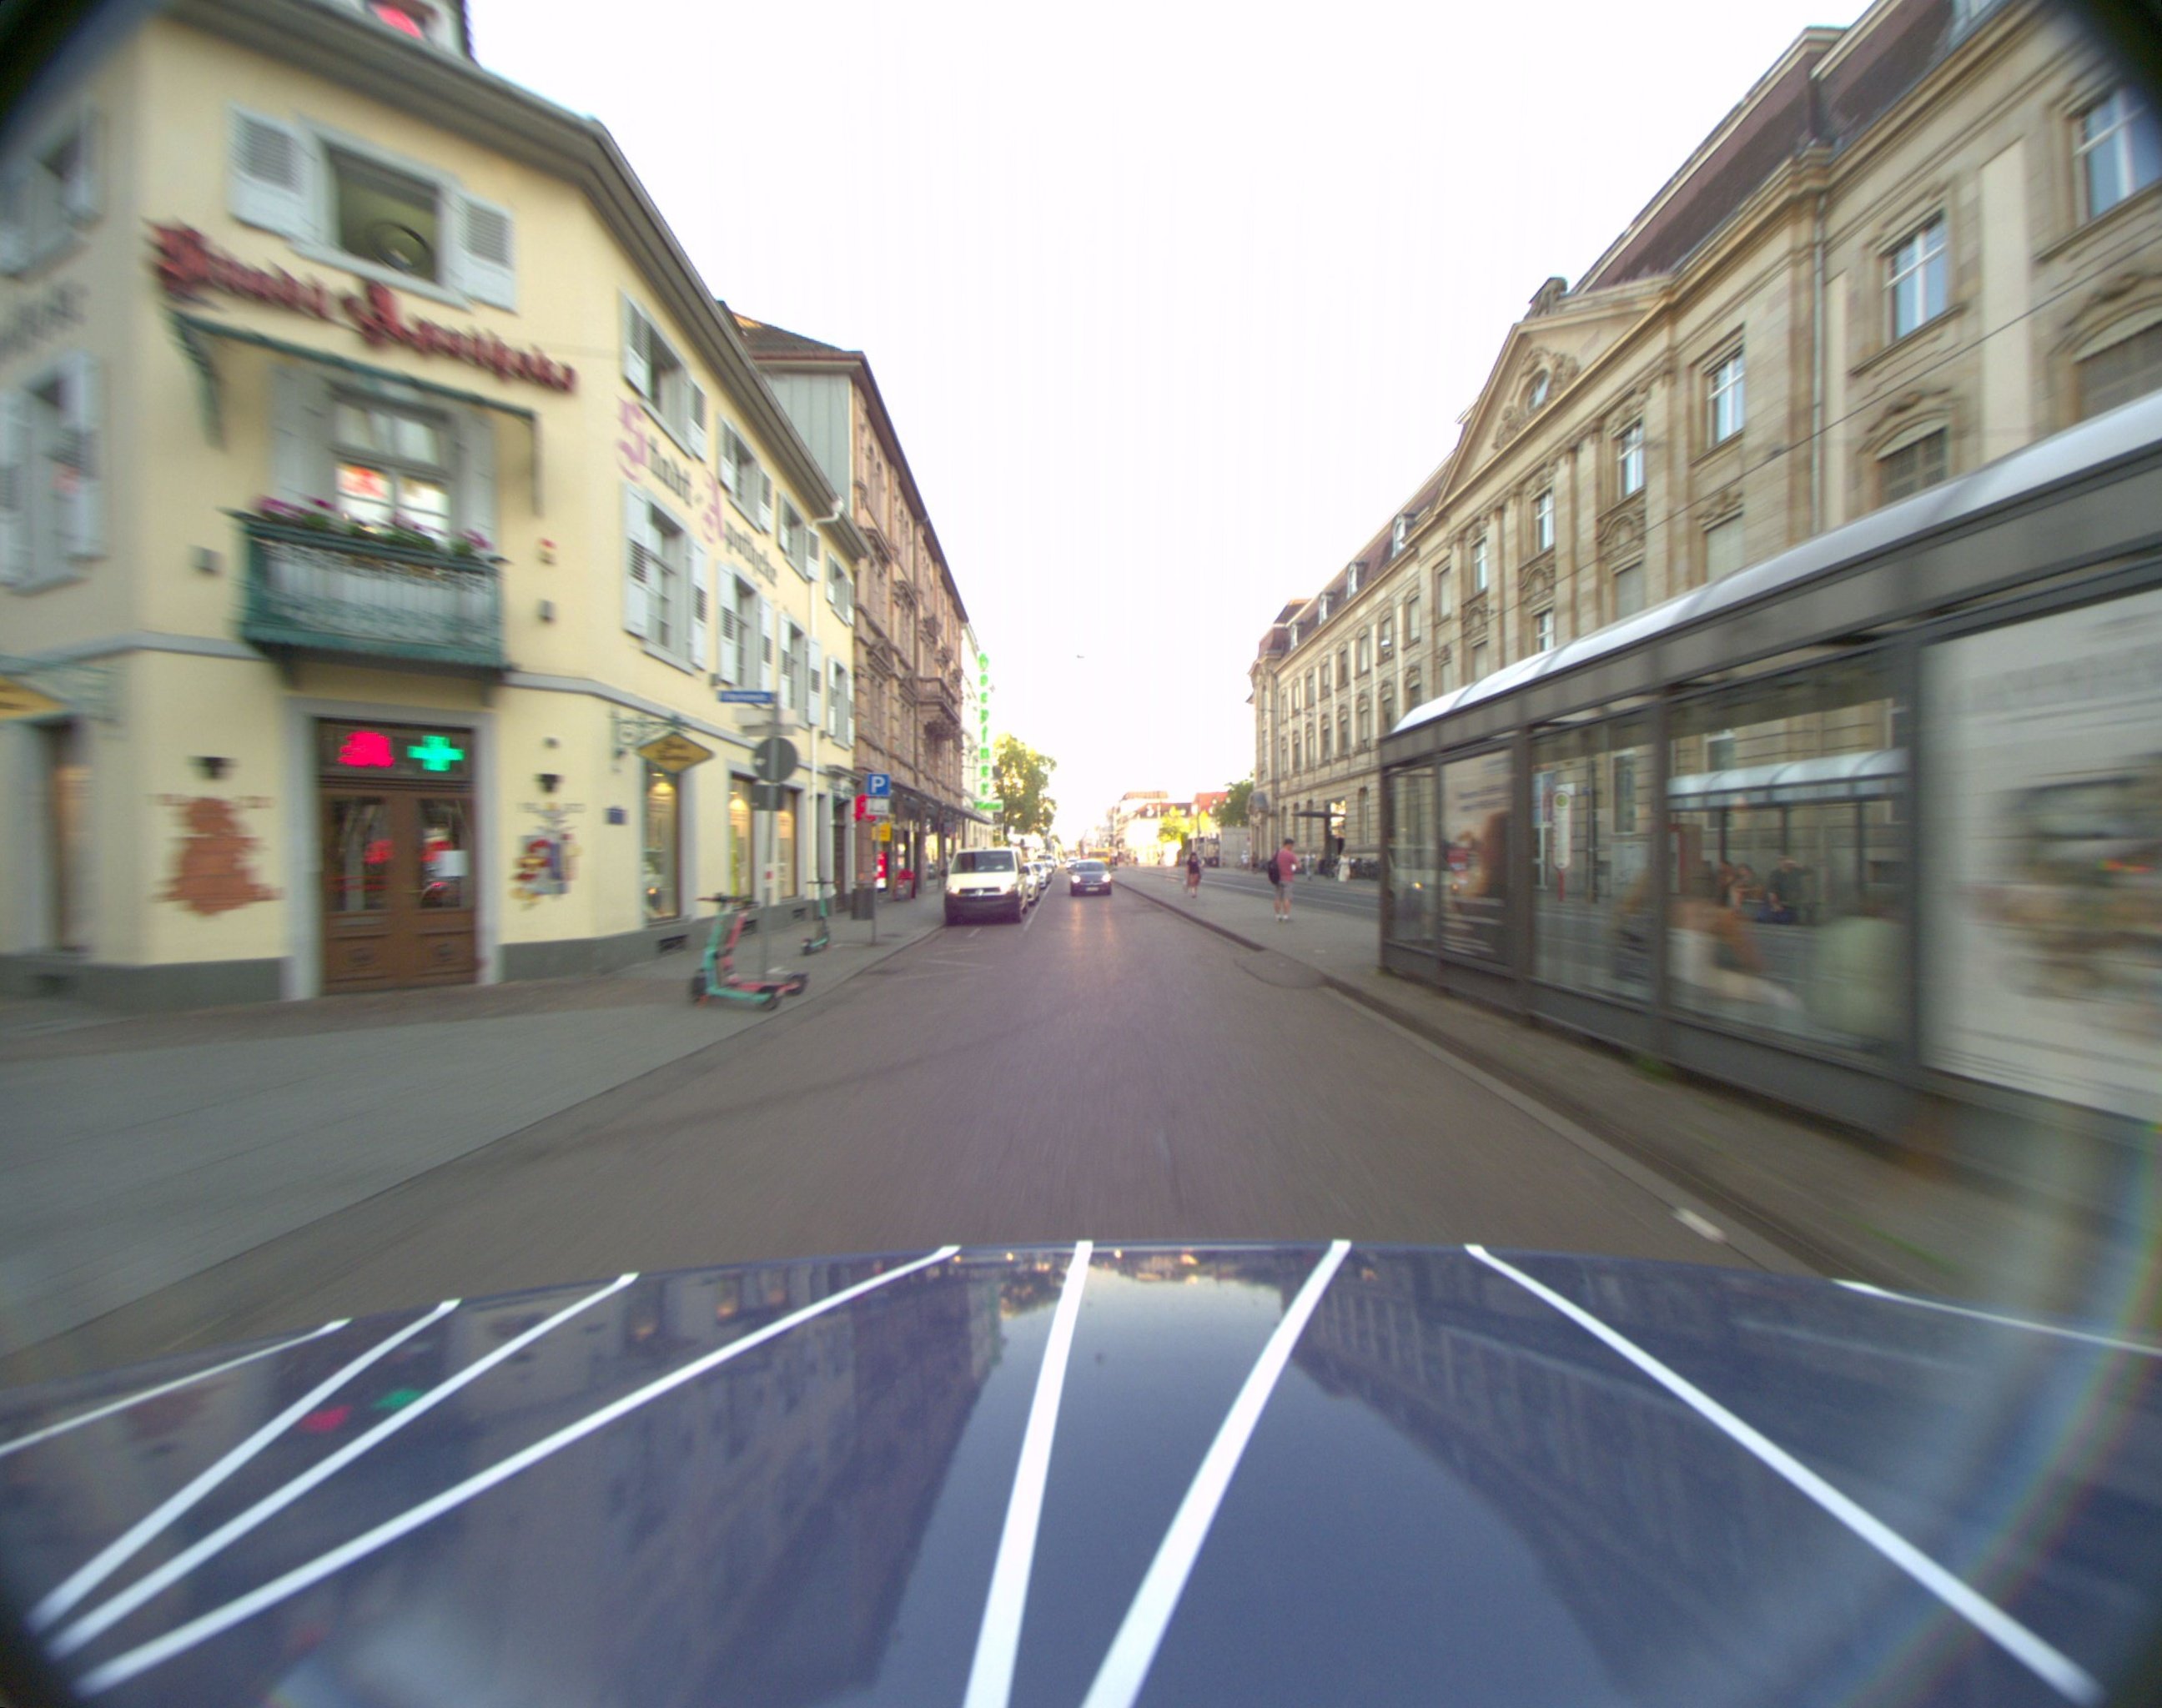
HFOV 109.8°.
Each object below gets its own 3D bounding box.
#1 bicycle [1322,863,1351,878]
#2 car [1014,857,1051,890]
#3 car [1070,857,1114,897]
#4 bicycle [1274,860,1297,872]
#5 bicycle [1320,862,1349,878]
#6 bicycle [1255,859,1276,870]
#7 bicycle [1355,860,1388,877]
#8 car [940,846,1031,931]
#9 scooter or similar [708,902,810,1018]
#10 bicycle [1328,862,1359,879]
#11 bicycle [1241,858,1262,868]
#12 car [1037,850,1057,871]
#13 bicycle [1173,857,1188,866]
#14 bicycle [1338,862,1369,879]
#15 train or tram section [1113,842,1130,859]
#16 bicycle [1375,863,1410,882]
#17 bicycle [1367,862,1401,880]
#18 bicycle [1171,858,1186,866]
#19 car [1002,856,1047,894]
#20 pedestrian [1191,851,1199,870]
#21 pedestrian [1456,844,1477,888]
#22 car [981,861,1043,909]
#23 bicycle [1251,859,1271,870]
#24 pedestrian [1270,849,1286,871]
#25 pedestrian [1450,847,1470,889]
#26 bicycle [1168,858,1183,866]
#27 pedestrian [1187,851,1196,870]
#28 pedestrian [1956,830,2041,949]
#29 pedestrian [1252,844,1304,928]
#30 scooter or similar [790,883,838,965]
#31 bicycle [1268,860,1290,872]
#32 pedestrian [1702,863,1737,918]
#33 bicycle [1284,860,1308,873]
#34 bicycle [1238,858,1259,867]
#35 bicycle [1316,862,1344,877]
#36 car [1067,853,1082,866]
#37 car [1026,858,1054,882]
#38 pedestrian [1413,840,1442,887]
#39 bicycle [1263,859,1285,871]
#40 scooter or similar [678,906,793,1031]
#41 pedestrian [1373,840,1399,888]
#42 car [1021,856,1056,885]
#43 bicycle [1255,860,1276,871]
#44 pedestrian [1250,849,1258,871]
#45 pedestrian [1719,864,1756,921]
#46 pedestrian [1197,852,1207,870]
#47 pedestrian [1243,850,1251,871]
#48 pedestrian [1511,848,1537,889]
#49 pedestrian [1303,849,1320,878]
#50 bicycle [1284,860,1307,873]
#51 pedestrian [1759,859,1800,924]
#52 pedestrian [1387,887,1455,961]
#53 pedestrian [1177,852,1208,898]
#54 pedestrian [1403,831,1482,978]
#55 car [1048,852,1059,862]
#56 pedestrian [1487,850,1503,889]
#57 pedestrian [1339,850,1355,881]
[{"bbox_3d":[15.445,0.989,45.899,1.579,0.869,0.451,-2,1,4],"label":"bicycle"},{"bbox_3d":[-2.526,0.996,40.771,1.737,1.502,4.864,-3,1,-2],"label":"car"},{"bbox_3d":[0.406,0.941,32.703,1.739,1.495,3.999,-2,1,-1],"label":"car"},{"bbox_3d":[15.173,0.899,56.352,1.579,0.869,0.451,-2,1,4],"label":"bicycle"},{"bbox_3d":[15.497,0.981,46.485,1.579,0.869,0.451,-2,1,4],"label":"bicycle"},{"bbox_3d":[14.939,0.856,61.694,1.579,0.869,0.451,-2,1,4],"label":"bicycle"},{"bbox_3d":[15.799,0.780,41.342,1.579,0.869,0.451,-2,1,4],"label":"bicycle"},{"bbox_3d":[-2.423,0.805,20.459,1.881,1.912,4.698,-3,1,-2],"label":"car"},{"bbox_3d":[-3.711,1.196,8.776,1.049,1.227,0.271,0,1,-33],"label":"scooter or similar"},{"bbox_3d":[14.969,0.949,43.394,1.579,0.869,0.451,-2,1,4],"label":"bicycle"},{"bbox_3d":[16.446,0.841,73.461,1.840,0.863,0.635,-2,1,-3],"label":"bicycle"},{"bbox_3d":[-3.478,0.640,78.339,1.857,2.055,5.214,0,0,-1],"label":"car"},{"bbox_3d":[14.306,1.064,109.363,2.132,1.153,0.692,-1,0,0],"label":"bicycle"},{"bbox_3d":[15.286,0.914,42.661,1.579,0.869,0.451,-2,1,4],"label":"bicycle"},{"bbox_3d":[9.284,-0.840,177.122,2.902,3.664,13.478,-1,0,-1],"label":"train or tram section"},{"bbox_3d":[15.583,0.920,38.018,1.579,0.869,0.451,-2,1,4],"label":"bicycle"},{"bbox_3d":[15.888,0.901,39.896,1.579,0.869,0.451,-2,1,4],"label":"bicycle"},{"bbox_3d":[14.222,1.224,110.982,2.132,1.153,0.692,-1,0,0],"label":"bicycle"},{"bbox_3d":[-2.538,0.900,35.054,1.731,1.468,4.819,-3,1,-2],"label":"car"},{"bbox_3d":[10.708,0.606,71.586,0.679,1.726,0.483,1,0,14],"label":"pedestrian"},{"bbox_3d":[14.040,0.437,27.705,0.440,1.596,0.572,-2,1,0],"label":"pedestrian"},{"bbox_3d":[-2.369,1.029,27.023,1.811,1.474,4.777,-3,0,-2],"label":"car"},{"bbox_3d":[15.172,0.908,64.089,1.579,0.869,0.451,-2,1,4],"label":"bicycle"},{"bbox_3d":[14.010,0.435,54.029,0.739,1.524,0.776,-2,1,-34],"label":"pedestrian"},{"bbox_3d":[14.858,0.548,29.768,0.477,1.633,0.562,-2,1,2],"label":"pedestrian"},{"bbox_3d":[14.048,1.214,112.716,2.132,1.153,0.692,-1,0,0],"label":"bicycle"},{"bbox_3d":[10.583,0.612,72.589,0.650,1.726,0.594,0,0,-10],"label":"pedestrian"},{"bbox_3d":[13.111,0.484,10.875,0.518,1.641,0.639,-1,1,21],"label":"pedestrian"},{"bbox_3d":[3.999,0.627,15.376,0.686,1.628,0.863,-1,1,39],"label":"pedestrian"},{"bbox_3d":[-4.414,1.131,12.616,0.272,1.227,1.308,1,1,2],"label":"scooter or similar"},{"bbox_3d":[15.326,0.951,58.706,1.579,0.869,0.451,-2,1,4],"label":"bicycle"},{"bbox_3d":[13.172,0.751,15.677,0.365,1.096,0.430,-2,1,5],"label":"pedestrian"},{"bbox_3d":[15.453,0.904,54.728,1.579,0.869,0.451,-2,1,4],"label":"bicycle"},{"bbox_3d":[16.363,0.837,74.182,1.840,0.863,0.635,-2,1,-3],"label":"bicycle"},{"bbox_3d":[15.452,0.977,47.130,1.579,0.869,0.451,-2,1,4],"label":"bicycle"},{"bbox_3d":[-0.902,0.726,100.710,1.811,1.474,4.283,-3,0,-2],"label":"car"},{"bbox_3d":[-2.858,1.068,53.502,1.811,1.467,4.692,-2,1,-2],"label":"car"},{"bbox_3d":[12.780,0.350,28.048,0.694,1.702,0.815,-1,1,-1],"label":"pedestrian"},{"bbox_3d":[15.130,0.871,59.481,1.579,0.869,0.451,-2,1,4],"label":"bicycle"},{"bbox_3d":[-3.672,1.195,8.078,1.177,1.227,0.316,1,1,15],"label":"scooter or similar"},{"bbox_3d":[11.880,0.388,29.611,0.694,1.802,0.814,-1,1,0],"label":"pedestrian"},{"bbox_3d":[-2.581,0.981,47.060,1.737,1.581,4.442,-3,1,2],"label":"car"},{"bbox_3d":[15.205,0.921,62.630,1.579,0.869,0.451,-2,1,4],"label":"bicycle"},{"bbox_3d":[13.217,0.494,58.131,0.375,1.663,0.494,-1,1,32],"label":"pedestrian"},{"bbox_3d":[13.028,0.761,15.088,0.365,1.096,0.430,-2,1,5],"label":"pedestrian"},{"bbox_3d":[11.504,0.642,72.194,0.677,1.726,0.679,0,0,-14],"label":"pedestrian"},{"bbox_3d":[12.746,0.508,58.400,0.375,1.622,0.494,-1,1,33],"label":"pedestrian"},{"bbox_3d":[16.316,0.515,27.960,0.542,1.481,0.593,-3,1,-25],"label":"pedestrian"},{"bbox_3d":[12.244,0.494,40.301,0.659,1.553,0.681,-1,1,38],"label":"pedestrian"},{"bbox_3d":[15.647,0.891,55.450,1.579,0.869,0.451,-2,1,4],"label":"bicycle"},{"bbox_3d":[13.087,0.699,14.243,0.365,1.193,0.430,-2,1,5],"label":"pedestrian"},{"bbox_3d":[4.611,0.931,10.349,0.799,0.934,0.694,-1,0,22],"label":"pedestrian"},{"bbox_3d":[3.683,0.674,25.231,0.848,1.492,0.901,-1,1,-2],"label":"pedestrian"},{"bbox_3d":[4.334,0.569,9.105,0.675,1.681,0.639,0,2,45],"label":"pedestrian"},{"bbox_3d":[-4.439,0.474,123.590,1.771,1.565,3.999,1,1,-1],"label":"car"},{"bbox_3d":[15.481,0.582,28.434,0.439,1.431,0.573,-1,1,35],"label":"pedestrian"},{"bbox_3d":[12.743,0.552,36.381,0.693,1.458,0.557,-1,1,19],"label":"pedestrian"}]
